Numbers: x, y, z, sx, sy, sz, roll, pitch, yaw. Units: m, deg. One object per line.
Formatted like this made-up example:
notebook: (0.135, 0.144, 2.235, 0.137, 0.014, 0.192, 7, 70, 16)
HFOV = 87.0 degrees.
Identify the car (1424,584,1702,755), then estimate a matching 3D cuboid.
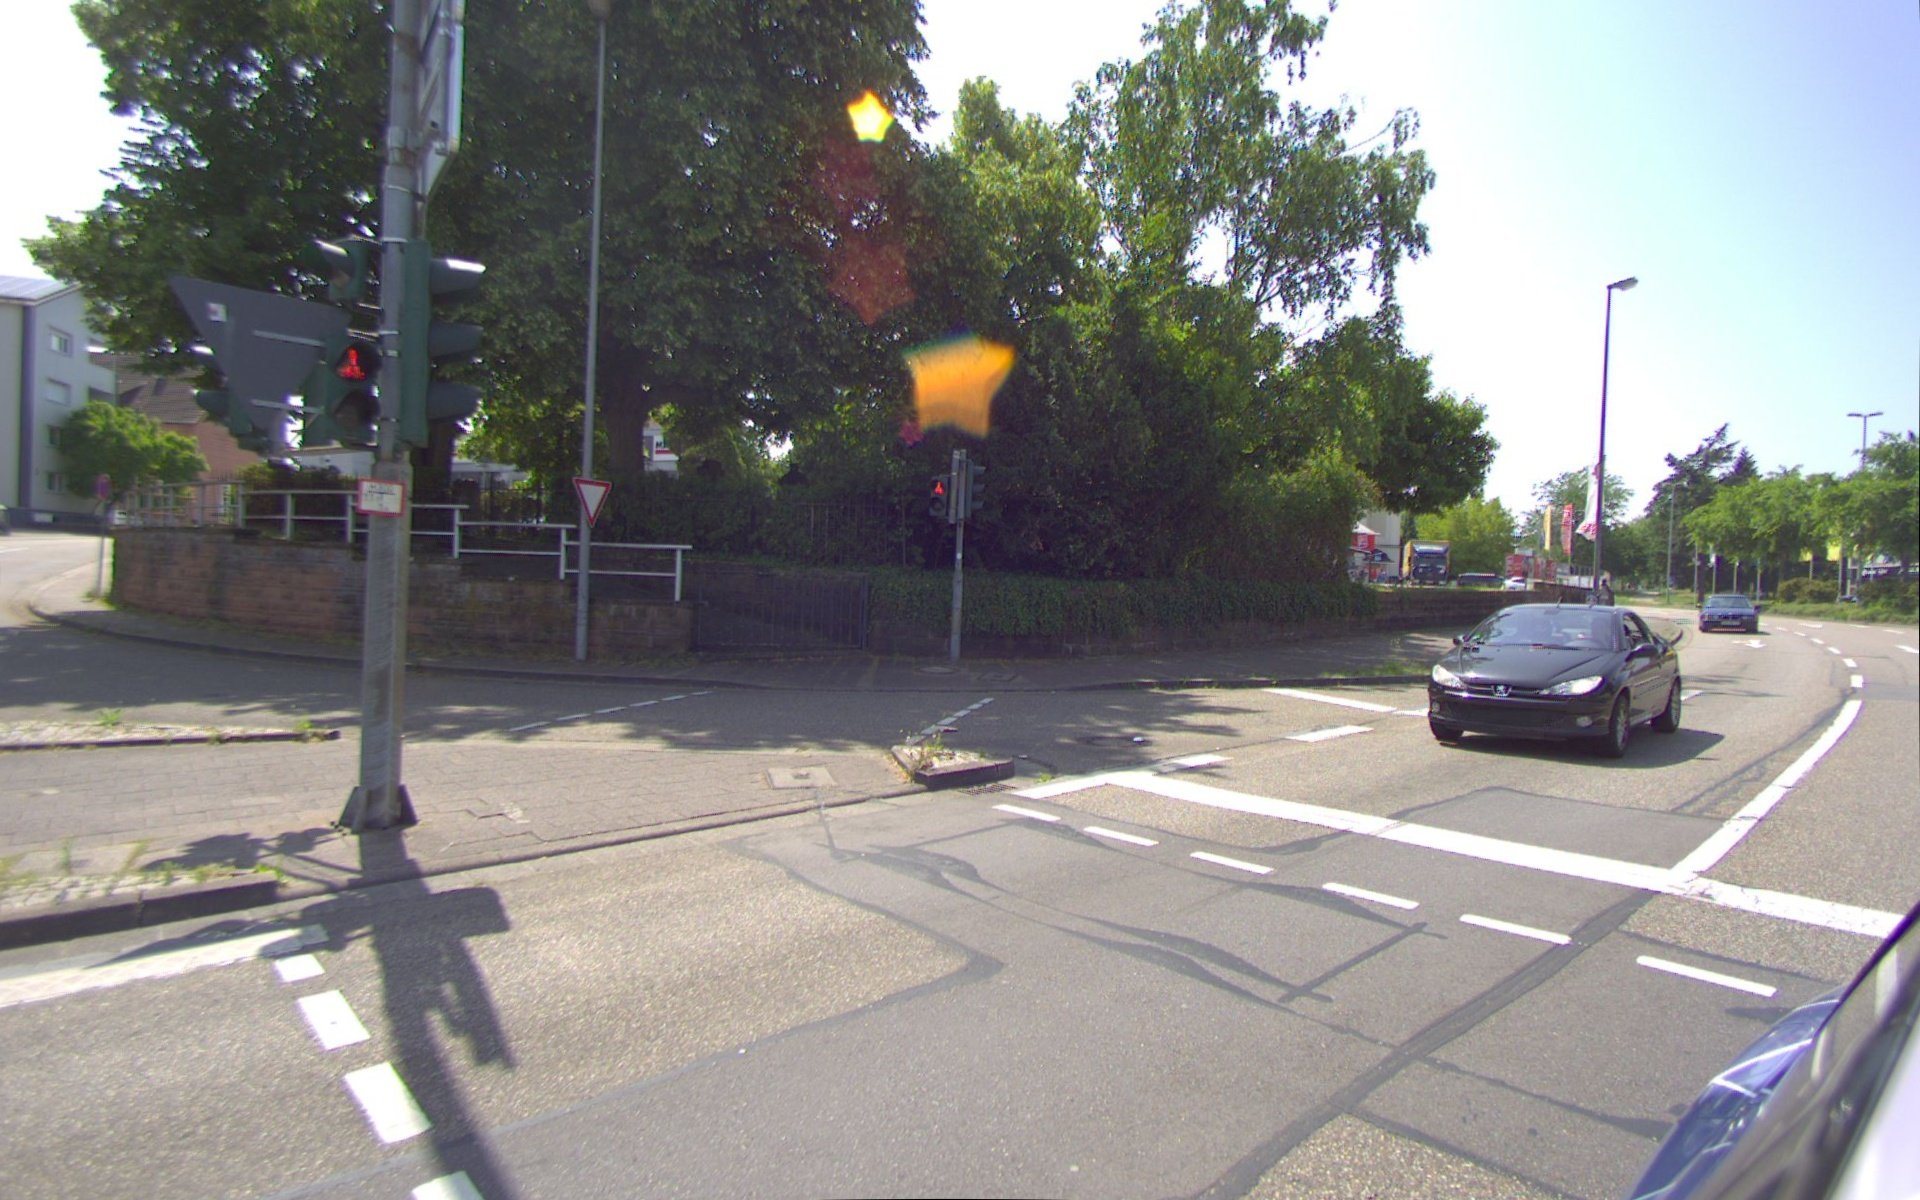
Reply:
car: (6.313, 0.585, 10.441, 3.601, 1.443, 1.601, 0, 1, -45)

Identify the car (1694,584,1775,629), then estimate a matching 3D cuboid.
car: (27.989, 0.192, 36.690, 1.684, 1.390, 3.961, 2, 3, 28)

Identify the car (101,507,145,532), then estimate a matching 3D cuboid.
car: (-60.034, -5.734, 72.657, 1.688, 1.528, 3.957, -1, 1, -28)
